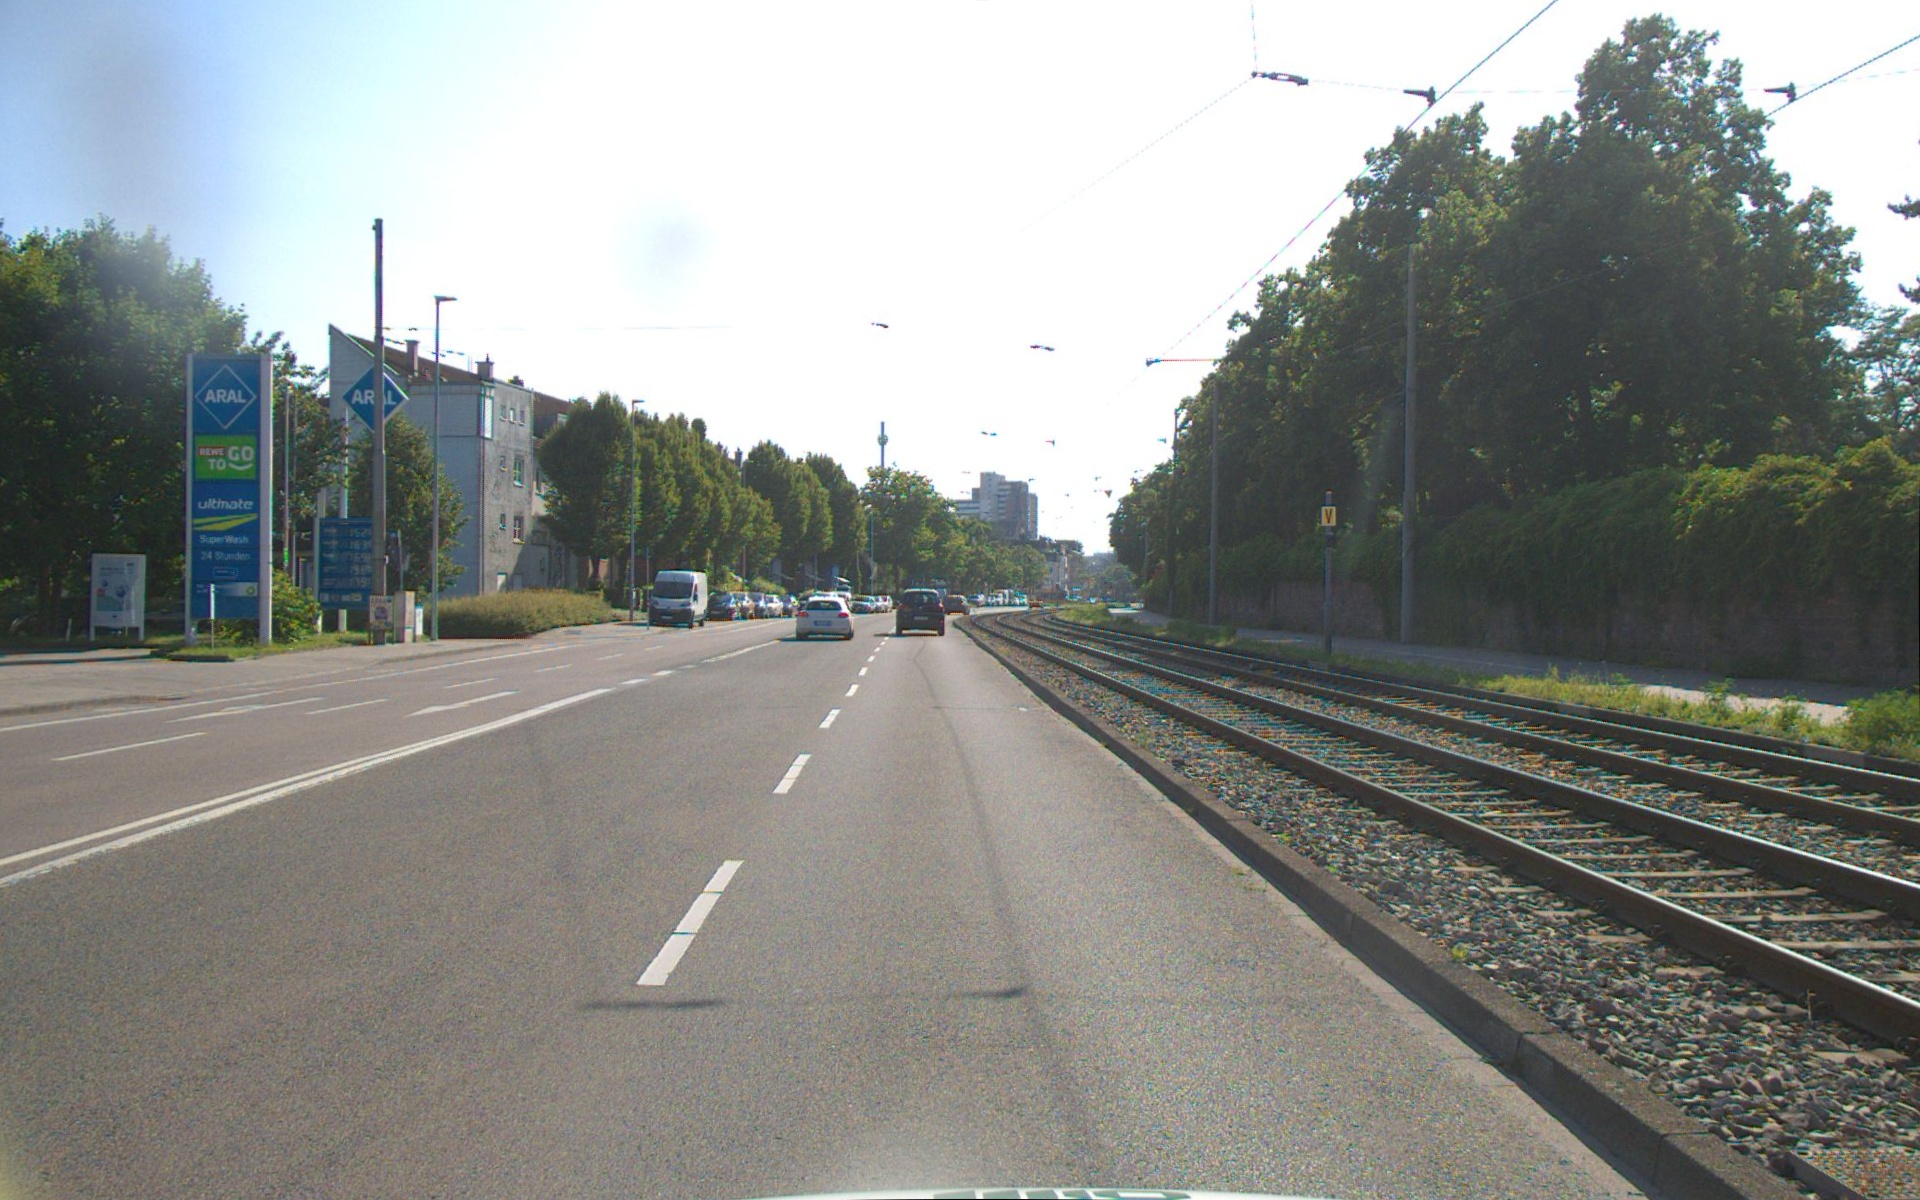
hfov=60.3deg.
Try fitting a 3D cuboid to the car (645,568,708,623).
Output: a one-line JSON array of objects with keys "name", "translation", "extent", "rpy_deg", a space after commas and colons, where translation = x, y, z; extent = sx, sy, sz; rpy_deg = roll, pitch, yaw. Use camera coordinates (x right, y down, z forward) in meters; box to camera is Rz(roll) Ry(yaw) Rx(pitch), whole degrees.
[{"name": "car", "translation": [-12.841, -0.203, 75.162], "extent": [1.952, 2.418, 4.539], "rpy_deg": [0, 0, 2]}]

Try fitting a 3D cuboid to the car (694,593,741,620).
[{"name": "car", "translation": [-13.257, 0.334, 90.494], "extent": [1.952, 1.441, 3.844], "rpy_deg": [0, 0, 1]}]

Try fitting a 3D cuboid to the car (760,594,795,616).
[{"name": "car", "translation": [-12.470, 0.350, 113.356], "extent": [1.952, 1.441, 3.844], "rpy_deg": [0, 0, 1]}]

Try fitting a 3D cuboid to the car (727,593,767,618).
[{"name": "car", "translation": [-13.145, 0.328, 102.235], "extent": [1.952, 1.441, 3.844], "rpy_deg": [0, 0, 1]}]

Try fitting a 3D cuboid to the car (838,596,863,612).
[{"name": "car", "translation": [-9.694, 0.352, 146.363], "extent": [1.952, 1.441, 3.844], "rpy_deg": [0, 0, 1]}]

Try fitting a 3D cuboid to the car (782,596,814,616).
[{"name": "car", "translation": [-12.228, 0.438, 124.822], "extent": [1.952, 1.441, 3.844], "rpy_deg": [0, 0, 1]}]

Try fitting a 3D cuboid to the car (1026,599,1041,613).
[{"name": "car", "translation": [8.930, 0.753, 200.172], "extent": [1.688, 1.620, 3.603], "rpy_deg": [2, 0, 4]}]

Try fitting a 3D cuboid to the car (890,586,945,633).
[{"name": "car", "translation": [-1.585, 0.313, 60.550], "extent": [1.691, 1.620, 3.597], "rpy_deg": [2, 0, -6]}]

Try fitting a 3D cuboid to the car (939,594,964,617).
[{"name": "car", "translation": [-0.608, 0.413, 123.553], "extent": [1.688, 1.620, 3.602], "rpy_deg": [2, 0, 1]}]

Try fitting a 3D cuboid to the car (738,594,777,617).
[{"name": "car", "translation": [-13.131, 0.336, 107.423], "extent": [1.952, 1.441, 3.844], "rpy_deg": [0, 0, 1]}]

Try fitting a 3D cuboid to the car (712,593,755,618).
[{"name": "car", "translation": [-13.187, 0.308, 96.528], "extent": [1.952, 1.441, 3.844], "rpy_deg": [0, 0, 1]}]

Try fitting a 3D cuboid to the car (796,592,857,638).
[{"name": "car", "translation": [-4.322, 0.456, 54.069], "extent": [1.745, 1.380, 3.600], "rpy_deg": [2, 0, -2]}]
